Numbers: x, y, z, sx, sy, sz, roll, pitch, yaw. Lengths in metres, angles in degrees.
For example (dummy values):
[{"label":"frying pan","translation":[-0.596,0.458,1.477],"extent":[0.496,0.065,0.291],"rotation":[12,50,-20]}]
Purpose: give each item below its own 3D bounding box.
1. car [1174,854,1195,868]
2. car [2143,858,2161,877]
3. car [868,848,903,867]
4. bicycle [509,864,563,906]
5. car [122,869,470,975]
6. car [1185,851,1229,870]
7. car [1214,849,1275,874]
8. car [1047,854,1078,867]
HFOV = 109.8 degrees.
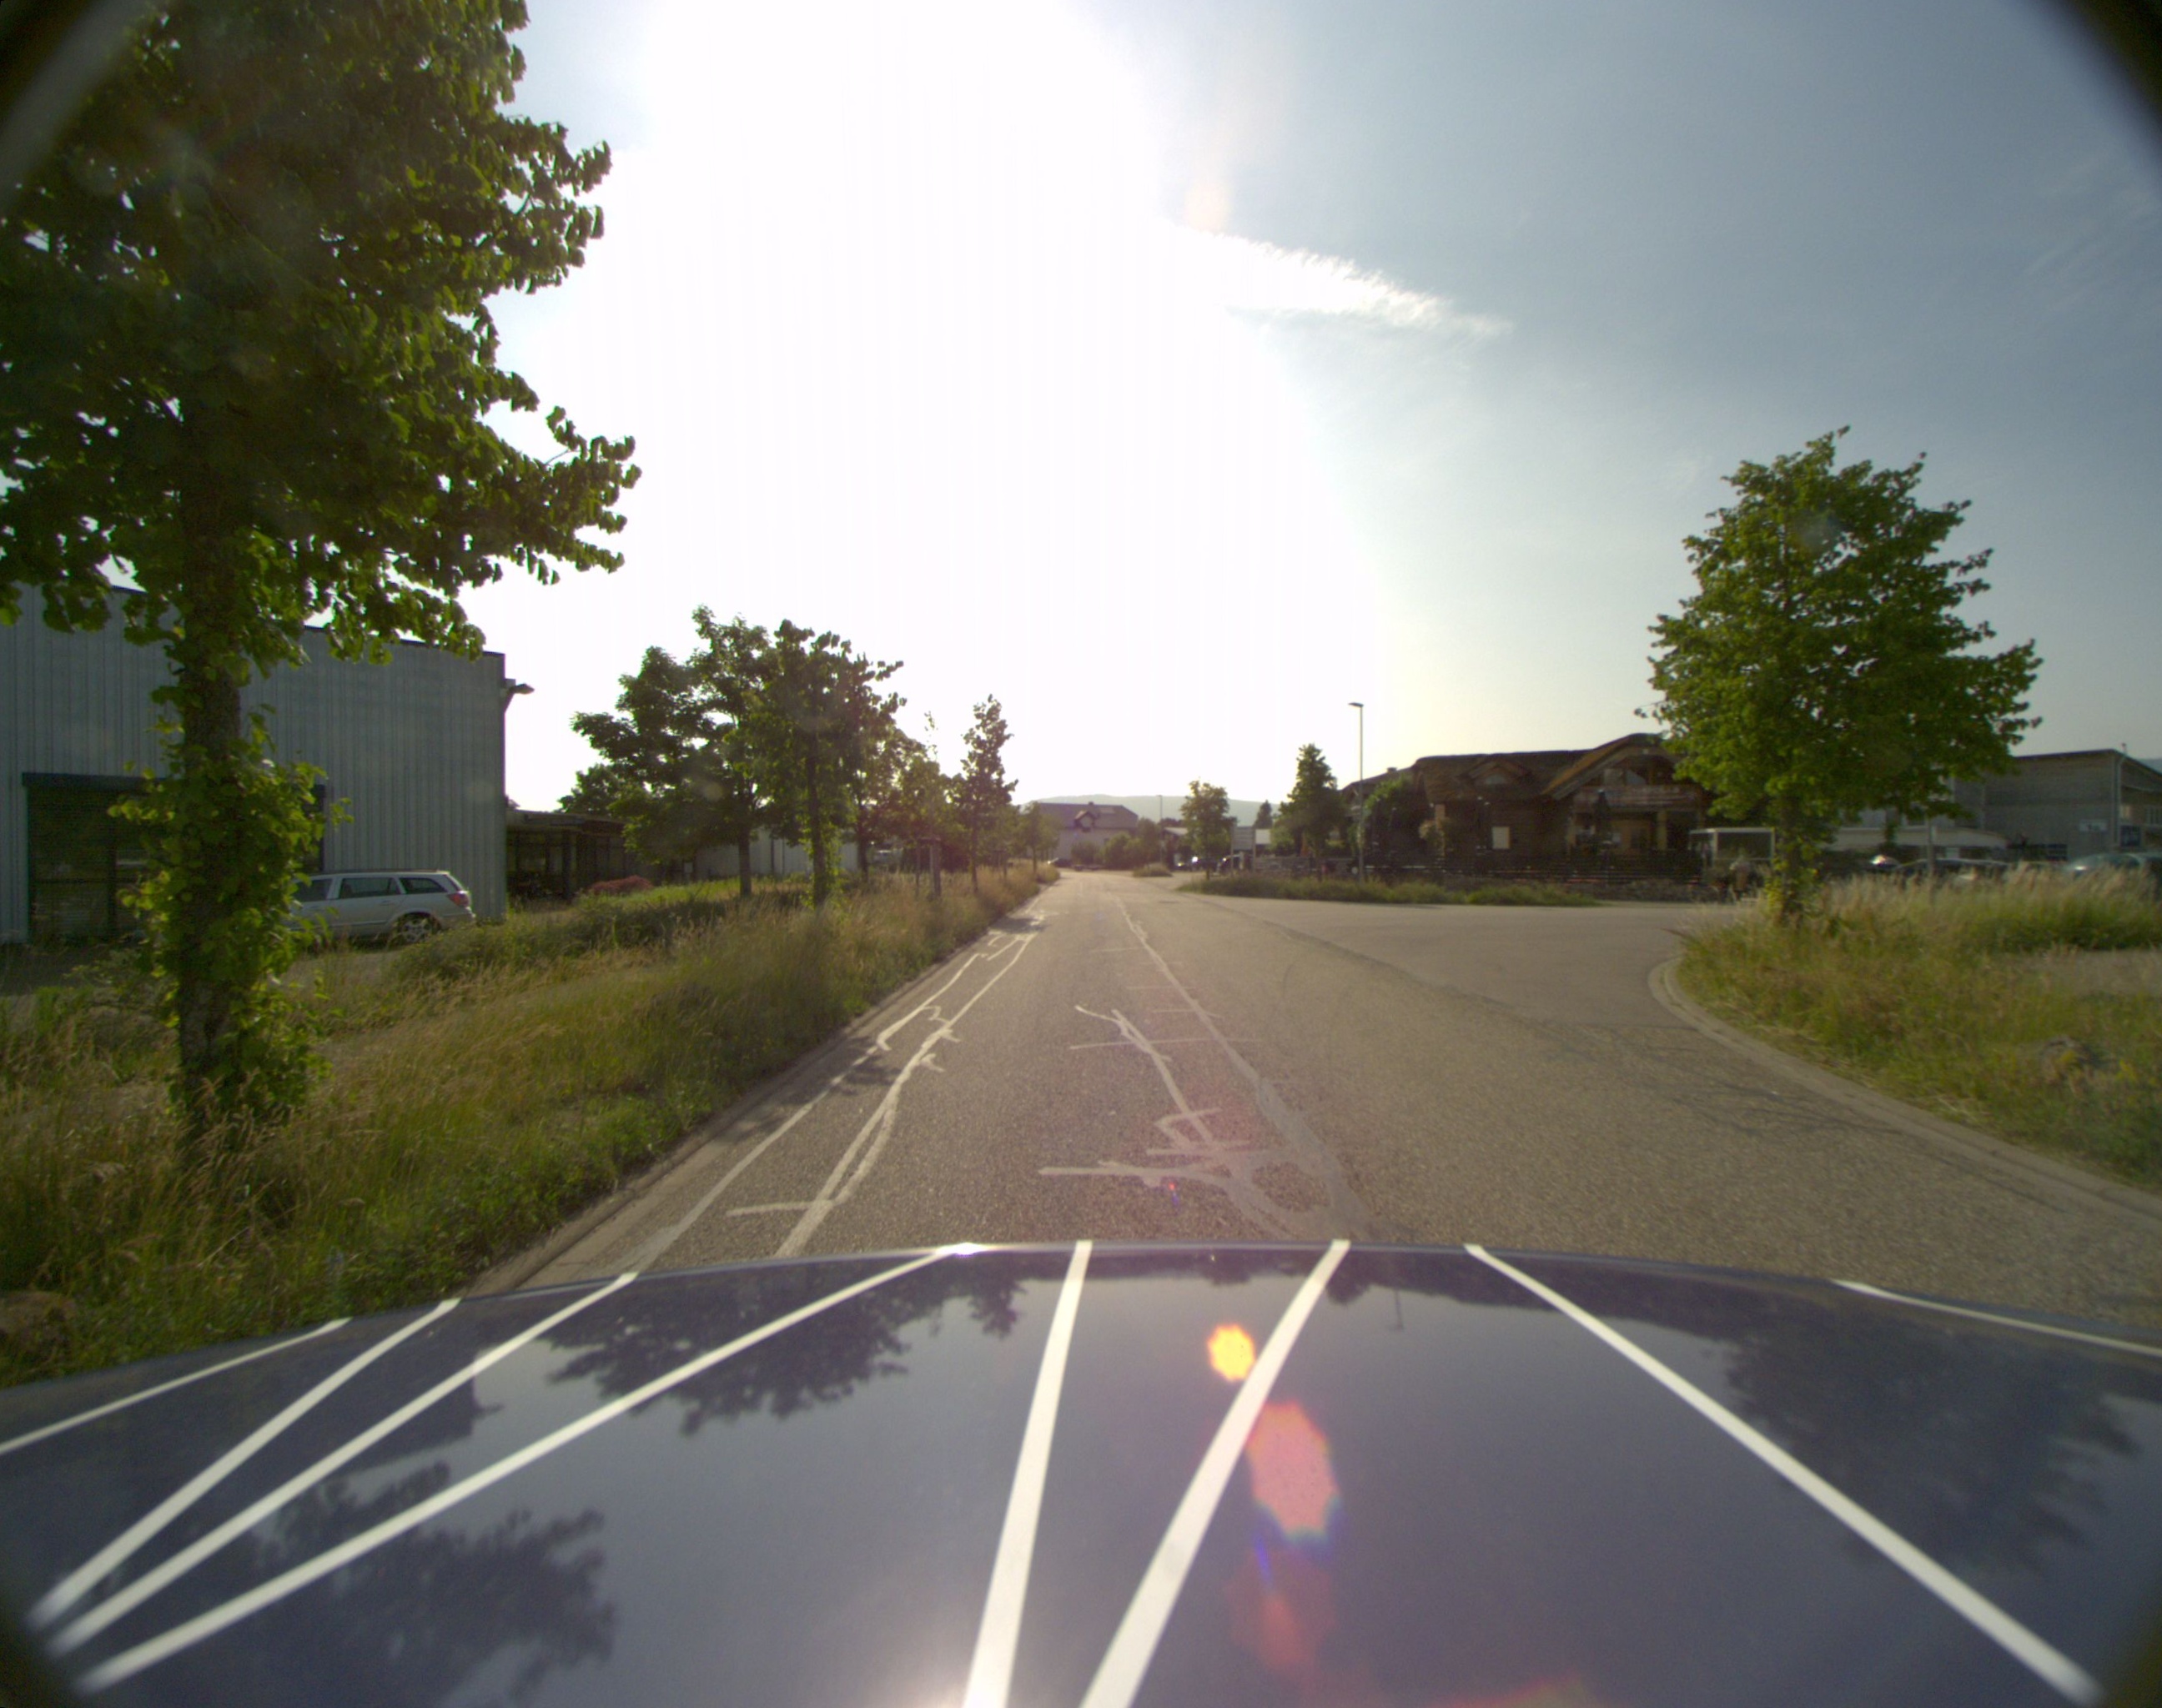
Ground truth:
[{"label":"car","translation":[12.008,0.799,88.065],"extent":[1.615,1.472,3.548],"rotation":[-1,0,-7]},{"label":"car","translation":[77.472,0.958,52.773],"extent":[1.765,1.360,4.057],"rotation":[-1,0,-24]},{"label":"car","translation":[-19.537,0.340,76.071],"extent":[1.598,1.672,3.761],"rotation":[-2,1,16]},{"label":"bicycle","translation":[-21.010,1.162,29.347],"extent":[0.808,1.461,2.277],"rotation":[-3,1,-12]},{"label":"car","translation":[-14.417,1.131,14.355],"extent":[4.369,1.554,1.753],"rotation":[0,3,-43]},{"label":"car","translation":[12.910,0.656,77.740],"extent":[4.004,1.783,1.996],"rotation":[-1,0,-21]},{"label":"car","translation":[11.730,0.537,54.766],"extent":[3.997,1.718,2.000],"rotation":[-1,0,1]},{"label":"car","translation":[-2.669,0.933,109.426],"extent":[4.005,1.761,1.996],"rotation":[-1,0,-24]}]
